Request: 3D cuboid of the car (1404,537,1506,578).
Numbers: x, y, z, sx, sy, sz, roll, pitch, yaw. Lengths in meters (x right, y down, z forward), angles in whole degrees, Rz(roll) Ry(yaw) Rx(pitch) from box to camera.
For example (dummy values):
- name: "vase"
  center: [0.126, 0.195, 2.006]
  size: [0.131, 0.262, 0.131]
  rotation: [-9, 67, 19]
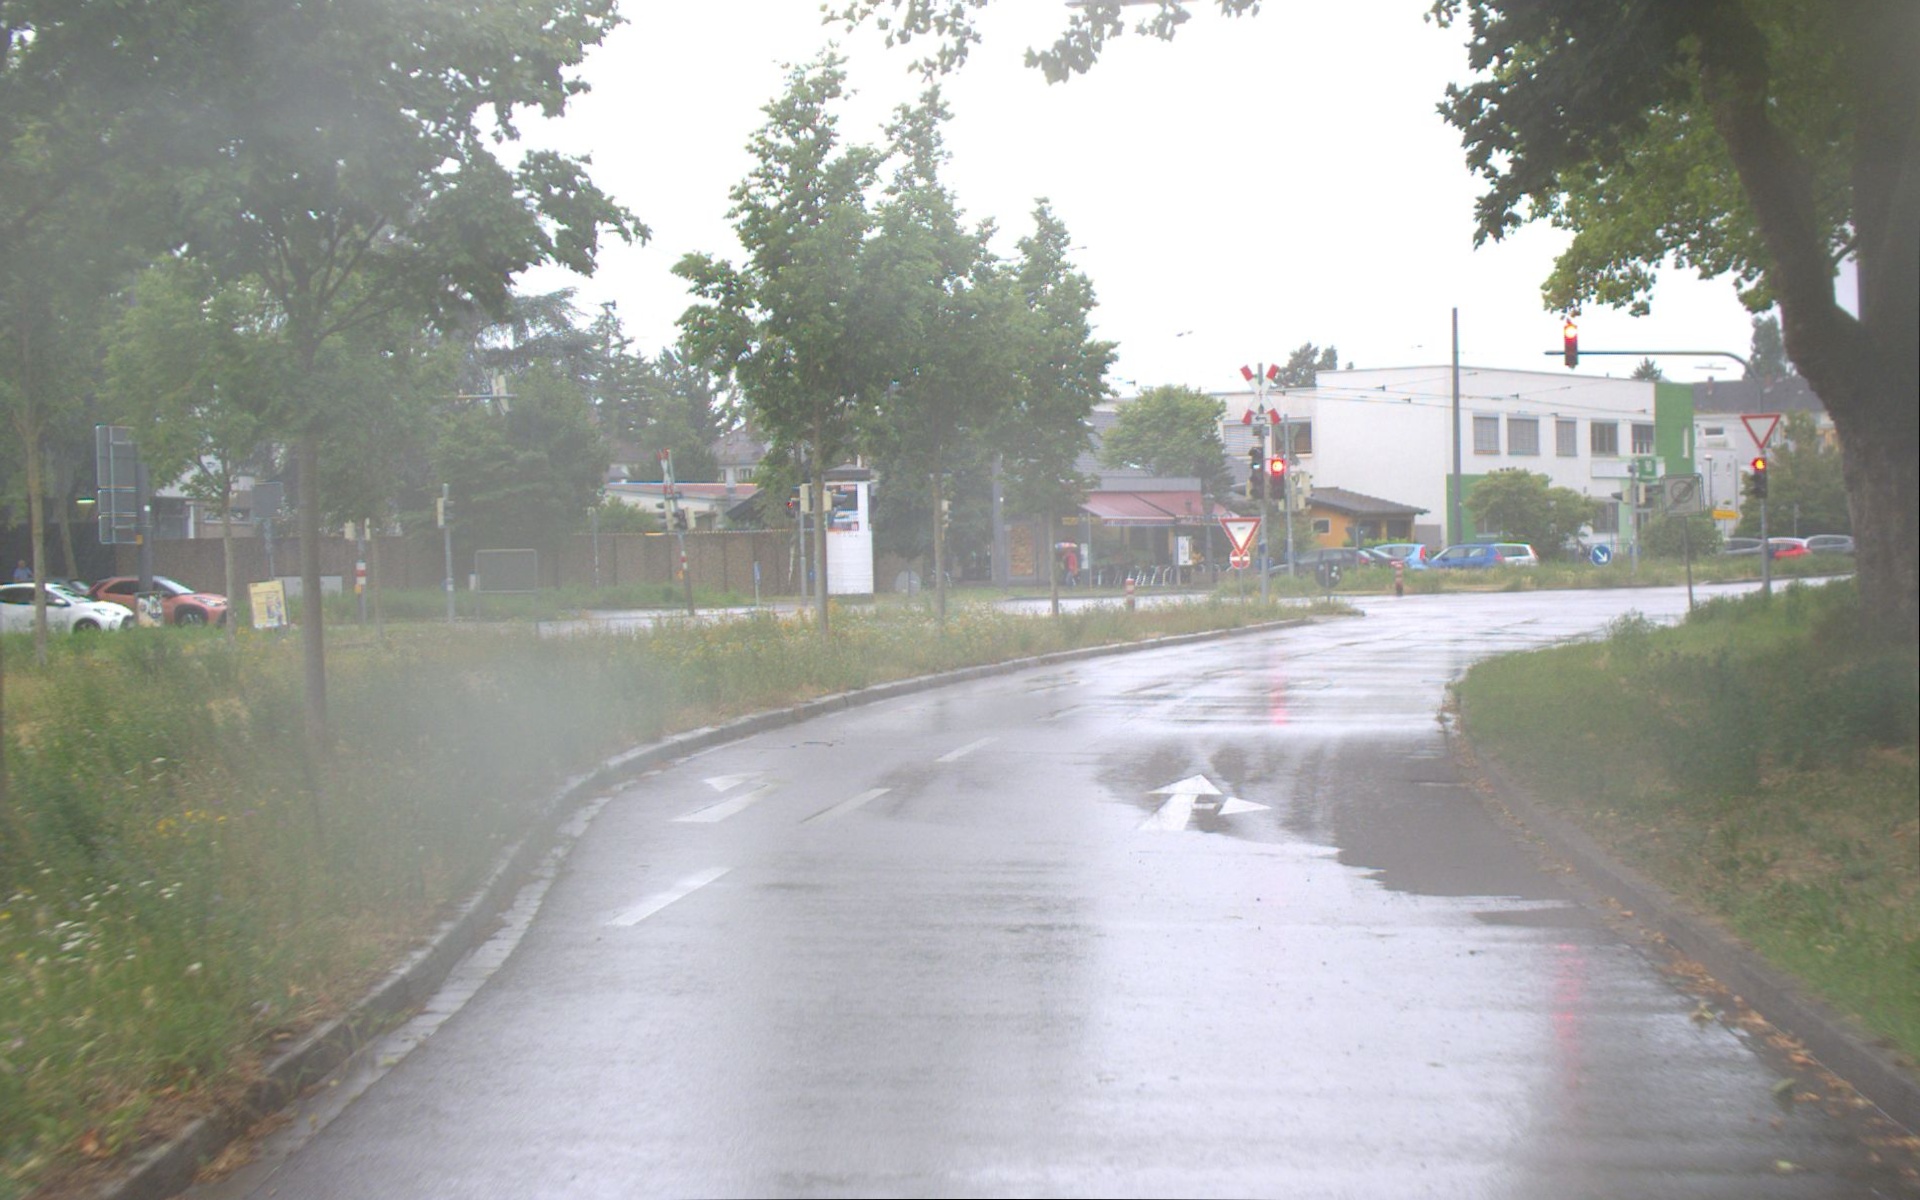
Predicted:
- name: "car"
  center: [18.752, -1.623, 130.142]
  size: [3.751, 1.437, 1.762]
  rotation: [-2, 0, 10]

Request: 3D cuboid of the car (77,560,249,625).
- name: "car"
  center: [-19.813, -0.184, 85.534]
  size: [3.818, 1.494, 1.652]
  rotation: [-2, 0, 4]

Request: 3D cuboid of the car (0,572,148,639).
- name: "car"
  center: [-21.618, 0.136, 81.905]
  size: [4.066, 1.494, 1.652]
  rotation: [-2, 0, 4]

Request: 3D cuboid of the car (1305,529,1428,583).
- name: "car"
  center: [14.915, -1.601, 126.110]
  size: [4.139, 1.853, 1.671]
  rotation: [-2, 0, 22]

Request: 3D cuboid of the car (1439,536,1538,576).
- name: "car"
  center: [20.460, -1.699, 133.066]
  size: [3.751, 1.437, 1.762]
  rotation: [-2, 0, 10]

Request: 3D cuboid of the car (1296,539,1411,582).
- name: "car"
  center: [14.040, -1.418, 122.756]
  size: [3.753, 1.437, 1.761]
  rotation: [-2, 0, 19]
